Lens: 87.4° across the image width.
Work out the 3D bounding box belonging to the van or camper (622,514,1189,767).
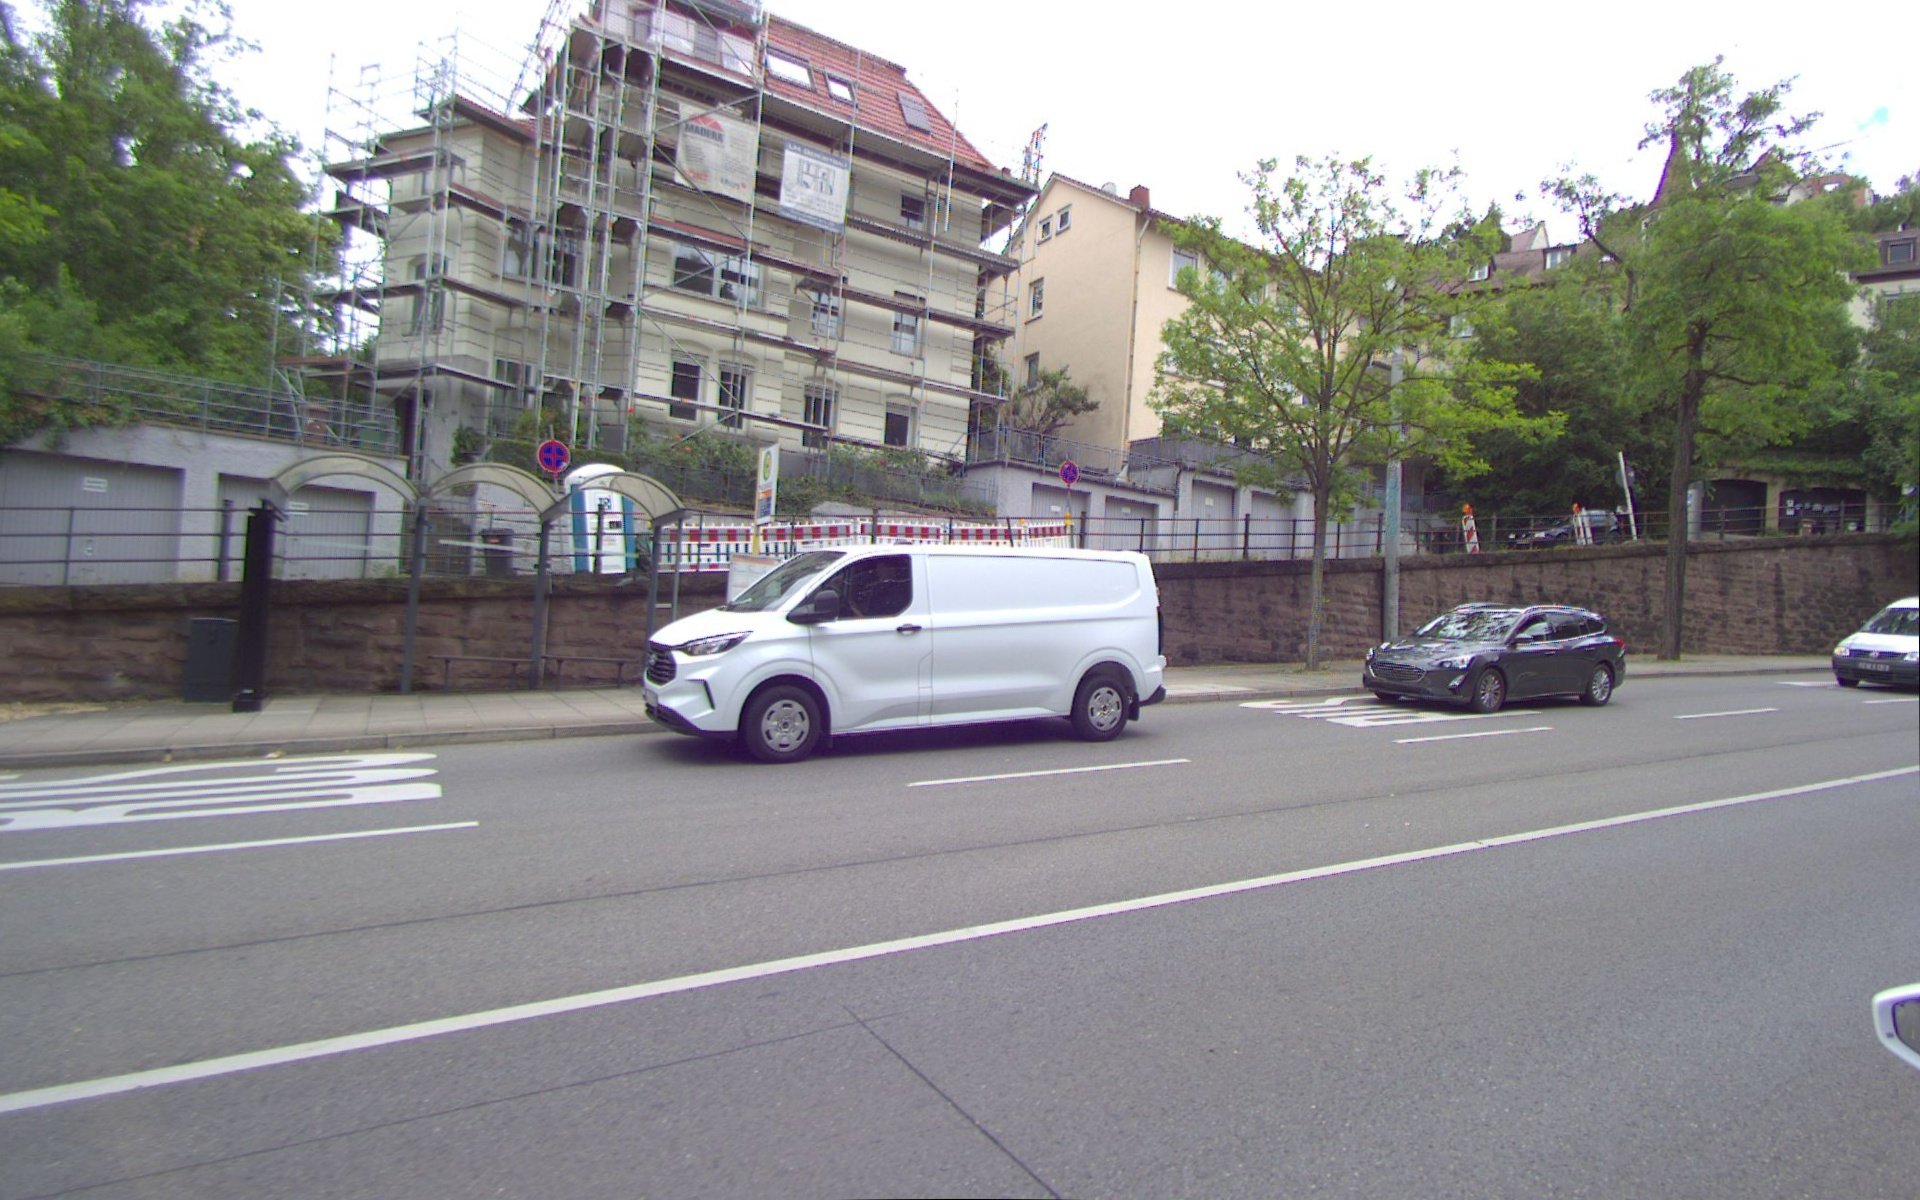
[{"bbox_3d":[-0.437,0.389,10.308,5.492,2.040,1.985,1,-1,-28],"label":"van or camper"}]

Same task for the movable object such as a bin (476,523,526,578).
[{"bbox_3d":[-9.634,-1.021,21.078,0.830,1.056,0.800,0,-2,-35],"label":"movable object such as a bin"}]

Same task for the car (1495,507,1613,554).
[{"bbox_3d":[20.303,-2.357,34.346,3.543,1.296,1.550,1,-2,-19],"label":"car"}]

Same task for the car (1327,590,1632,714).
[{"bbox_3d":[7.863,0.724,15.165,4.274,1.639,1.986,1,0,-27],"label":"car"}]

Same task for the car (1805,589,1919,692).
[{"bbox_3d":[19.018,0.783,19.749,4.224,1.823,1.941,2,1,-23],"label":"car"}]
